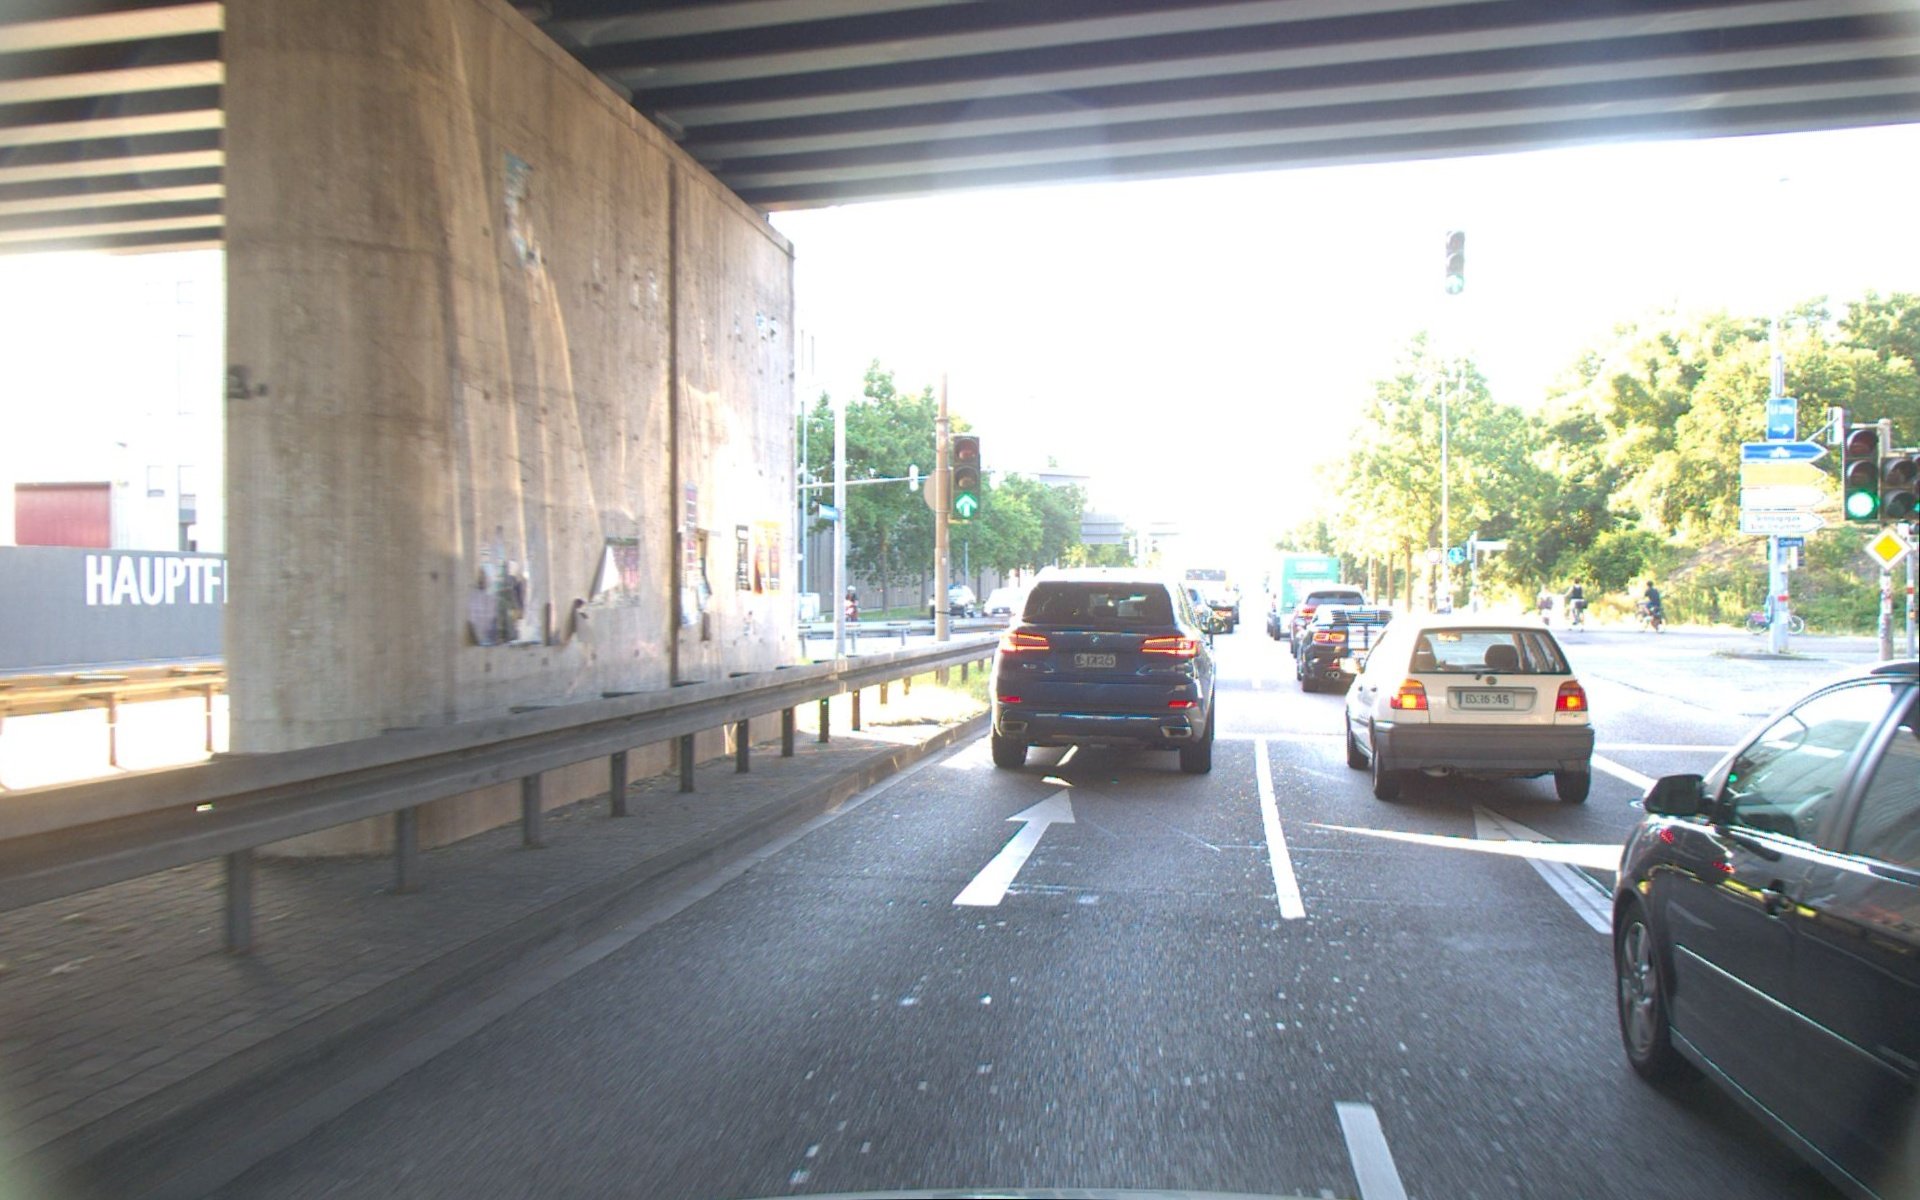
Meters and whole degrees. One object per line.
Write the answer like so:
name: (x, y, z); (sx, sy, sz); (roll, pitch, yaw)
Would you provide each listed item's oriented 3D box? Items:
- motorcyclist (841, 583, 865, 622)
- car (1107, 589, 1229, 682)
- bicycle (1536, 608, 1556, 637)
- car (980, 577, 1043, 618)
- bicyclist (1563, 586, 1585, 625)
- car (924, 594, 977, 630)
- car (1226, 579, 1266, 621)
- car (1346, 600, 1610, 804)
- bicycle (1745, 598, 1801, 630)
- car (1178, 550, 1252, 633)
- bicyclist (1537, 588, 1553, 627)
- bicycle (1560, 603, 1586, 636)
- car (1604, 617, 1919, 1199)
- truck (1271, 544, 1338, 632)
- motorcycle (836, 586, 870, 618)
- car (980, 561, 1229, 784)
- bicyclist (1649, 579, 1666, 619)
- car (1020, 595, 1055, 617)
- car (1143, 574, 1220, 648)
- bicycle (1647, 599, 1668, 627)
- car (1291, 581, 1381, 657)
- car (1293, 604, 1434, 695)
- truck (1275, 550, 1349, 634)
motorcyclist: (-4.122, 0.100, 63.828); (0.667, 1.449, 0.868); (1, -1, 12)
car: (3.597, 0.582, 28.096); (1.582, 1.434, 3.685); (1, 0, 14)
bicycle: (19.096, 0.728, 53.945); (0.428, 0.930, 1.027); (-2, -1, 10)
car: (2.077, -0.069, 65.562); (1.951, 1.501, 4.084); (2, 0, 9)
bicyclist: (21.500, 0.206, 57.926); (0.532, 1.339, 0.836); (1, -1, 10)
car: (-0.450, 0.620, 85.024); (1.951, 1.726, 4.684); (-3, -1, 9)
car: (12.020, 0.018, 69.723); (1.582, 1.709, 3.686); (1, 0, 9)
car: (4.256, 0.758, 14.118); (1.545, 1.438, 4.065); (1, 0, 9)
bicycle: (26.413, 0.454, 53.752); (1.630, 1.008, 0.577); (-1, 2, 27)
car: (8.532, -0.270, 55.676); (2.091, 2.621, 5.090); (1, 0, 5)
bicyclist: (19.123, 0.240, 54.094); (0.418, 1.254, 0.460); (0, -1, 10)
bicycle: (21.486, 0.669, 57.973); (0.552, 1.132, 1.623); (1, 0, 10)
car: (2.874, 0.784, 4.150); (1.582, 1.434, 3.686); (1, 0, 9)
truck: (11.188, -0.361, 53.864); (1.953, 2.715, 4.003); (1, 0, 10)
motorcycle: (-4.119, 0.086, 63.864); (0.666, 1.176, 2.240); (1, 0, 13)
car: (1.536, 0.606, 15.787); (1.951, 1.764, 4.536); (1, 0, 10)
bicyclist: (23.427, -0.027, 55.543); (0.418, 1.331, 0.460); (1, -1, 10)
car: (5.611, 0.456, 119.148); (1.951, 1.425, 4.352); (-4, -1, 9)
car: (5.552, 0.274, 41.168); (1.582, 1.709, 3.686); (1, 0, 12)
bicycle: (23.418, 0.432, 55.540); (0.428, 0.930, 1.027); (1, 0, 10)
car: (8.489, 0.416, 37.566); (1.758, 1.586, 4.003); (1, 0, 10)
car: (6.496, 0.768, 26.995); (1.951, 1.317, 4.003); (1, 0, 10)
truck: (10.426, -0.214, 49.201); (1.953, 2.356, 4.003); (1, 0, 10)
